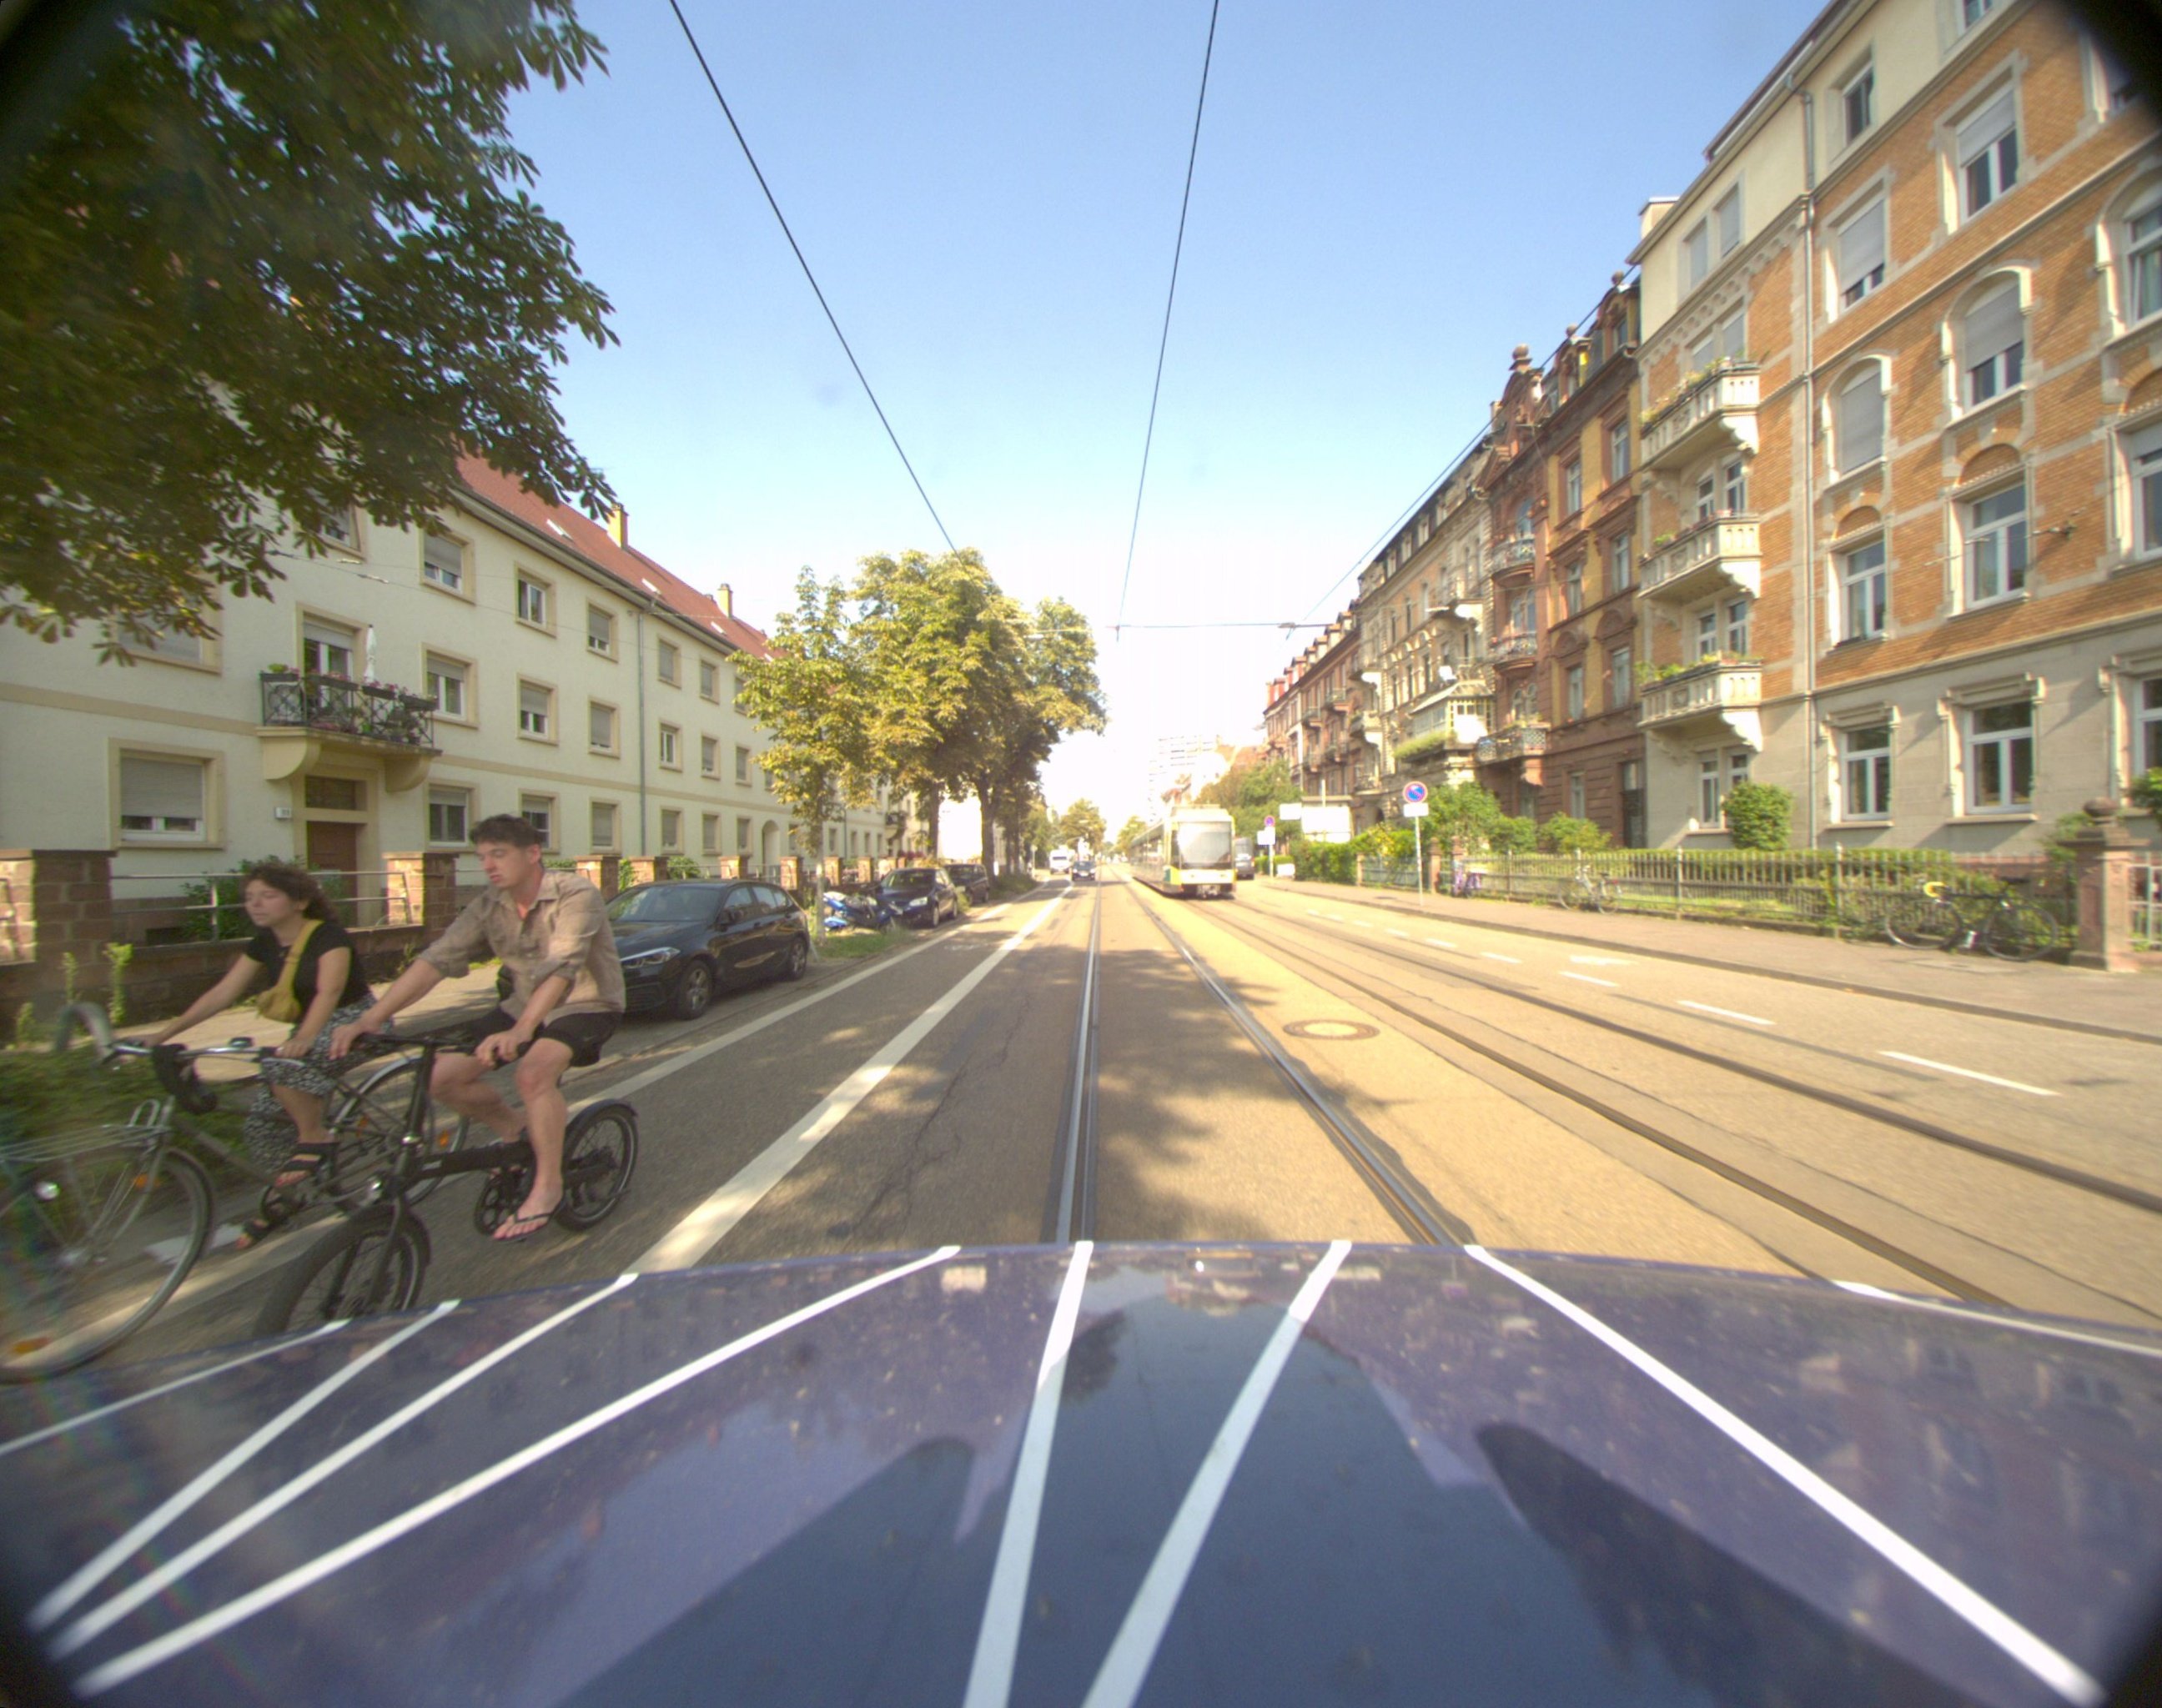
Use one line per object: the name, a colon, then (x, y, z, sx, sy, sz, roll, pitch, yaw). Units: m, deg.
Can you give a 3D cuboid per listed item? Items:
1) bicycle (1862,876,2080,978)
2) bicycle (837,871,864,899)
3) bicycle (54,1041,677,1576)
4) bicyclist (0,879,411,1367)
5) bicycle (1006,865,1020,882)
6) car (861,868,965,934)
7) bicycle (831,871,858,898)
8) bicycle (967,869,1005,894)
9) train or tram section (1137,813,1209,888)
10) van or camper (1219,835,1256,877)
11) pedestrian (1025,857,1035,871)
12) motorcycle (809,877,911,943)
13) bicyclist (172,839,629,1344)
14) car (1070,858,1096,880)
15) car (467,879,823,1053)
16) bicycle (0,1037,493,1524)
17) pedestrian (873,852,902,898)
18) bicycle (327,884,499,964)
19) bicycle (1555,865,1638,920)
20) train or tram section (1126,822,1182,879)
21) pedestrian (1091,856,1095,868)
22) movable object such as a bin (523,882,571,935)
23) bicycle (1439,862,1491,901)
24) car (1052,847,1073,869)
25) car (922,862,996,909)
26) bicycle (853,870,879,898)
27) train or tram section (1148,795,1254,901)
bicycle: (10.934, 0.846, 9.451, 0.546, 1.052, 1.840, -5, 0, 3)
bicycle: (-9.595, 1.285, 31.687, 0.525, 1.067, 1.729, -2, 0, 3)
bicycle: (-2.145, 1.295, 2.610, 0.628, 0.903, 1.525, -3, 0, 1)
bicyclist: (-3.258, 0.856, 2.809, 0.656, 1.465, 0.908, -3, 0, 1)
bicycle: (-4.602, 1.313, 51.641, 0.773, 1.097, 2.333, -1, 0, -1)
car: (-4.274, 1.143, 19.983, 1.649, 1.439, 4.246, 0, 0, 2)
bicycle: (-10.036, 1.266, 32.298, 0.525, 1.067, 1.729, -2, 0, 3)
bicycle: (-4.255, 1.227, 34.276, 0.524, 1.067, 1.732, -2, 0, 43)
train or tram section: (4.784, -0.167, 41.701, 2.741, 3.485, 10.776, -2, 0, 1)
van or camper: (10.242, 0.101, 50.217, 2.054, 2.629, 6.093, -1, 0, 9)
pedestrian: (-6.242, 1.230, 93.546, 1.079, 1.714, 0.969, 2, 0, 1)
motorcycle: (-4.579, 1.169, 15.835, 1.859, 1.281, 0.705, 2, -5, -1)
bicyclist: (-2.184, 0.669, 2.595, 0.628, 1.392, 0.929, -3, 0, 1)
car: (0.140, 1.082, 55.599, 1.775, 1.459, 4.000, -2, 0, -1)
car: (-4.763, 1.106, 9.174, 1.693, 1.426, 4.337, 1, 0, 1)
bicycle: (-3.222, 1.355, 2.798, 0.656, 0.903, 1.775, -3, 0, 1)
pedestrian: (-7.523, 0.810, 29.555, 0.754, 1.738, 0.879, -2, 0, 8)
bicycle: (-10.862, 1.092, 12.504, 0.773, 1.097, 2.333, -1, 0, -1)
bicycle: (11.131, 0.808, 16.475, 0.546, 1.052, 1.840, -5, 0, 3)
train or tram section: (4.995, -0.188, 54.843, 2.741, 3.485, 15.434, -2, 0, 1)
pedestrian: (1.797, 1.155, 112.154, 0.590, 1.711, 0.607, -1, 0, 4)
movable object such as a bin: (-11.198, 1.135, 15.957, 0.507, 1.063, 0.660, -1, 0, 3)
bicycle: (11.292, 0.786, 22.407, 0.608, 1.052, 1.840, -5, 0, 3)
car: (-2.040, 0.442, 84.115, 2.087, 2.264, 4.827, -2, 0, 0)
car: (-4.383, 1.084, 27.882, 1.648, 1.531, 3.844, 0, 0, 7)
bicycle: (-8.980, 1.239, 31.794, 0.525, 1.067, 1.729, -2, 0, 3)
train or tram section: (4.494, -0.174, 30.929, 2.741, 3.485, 10.776, -2, 0, 1)
